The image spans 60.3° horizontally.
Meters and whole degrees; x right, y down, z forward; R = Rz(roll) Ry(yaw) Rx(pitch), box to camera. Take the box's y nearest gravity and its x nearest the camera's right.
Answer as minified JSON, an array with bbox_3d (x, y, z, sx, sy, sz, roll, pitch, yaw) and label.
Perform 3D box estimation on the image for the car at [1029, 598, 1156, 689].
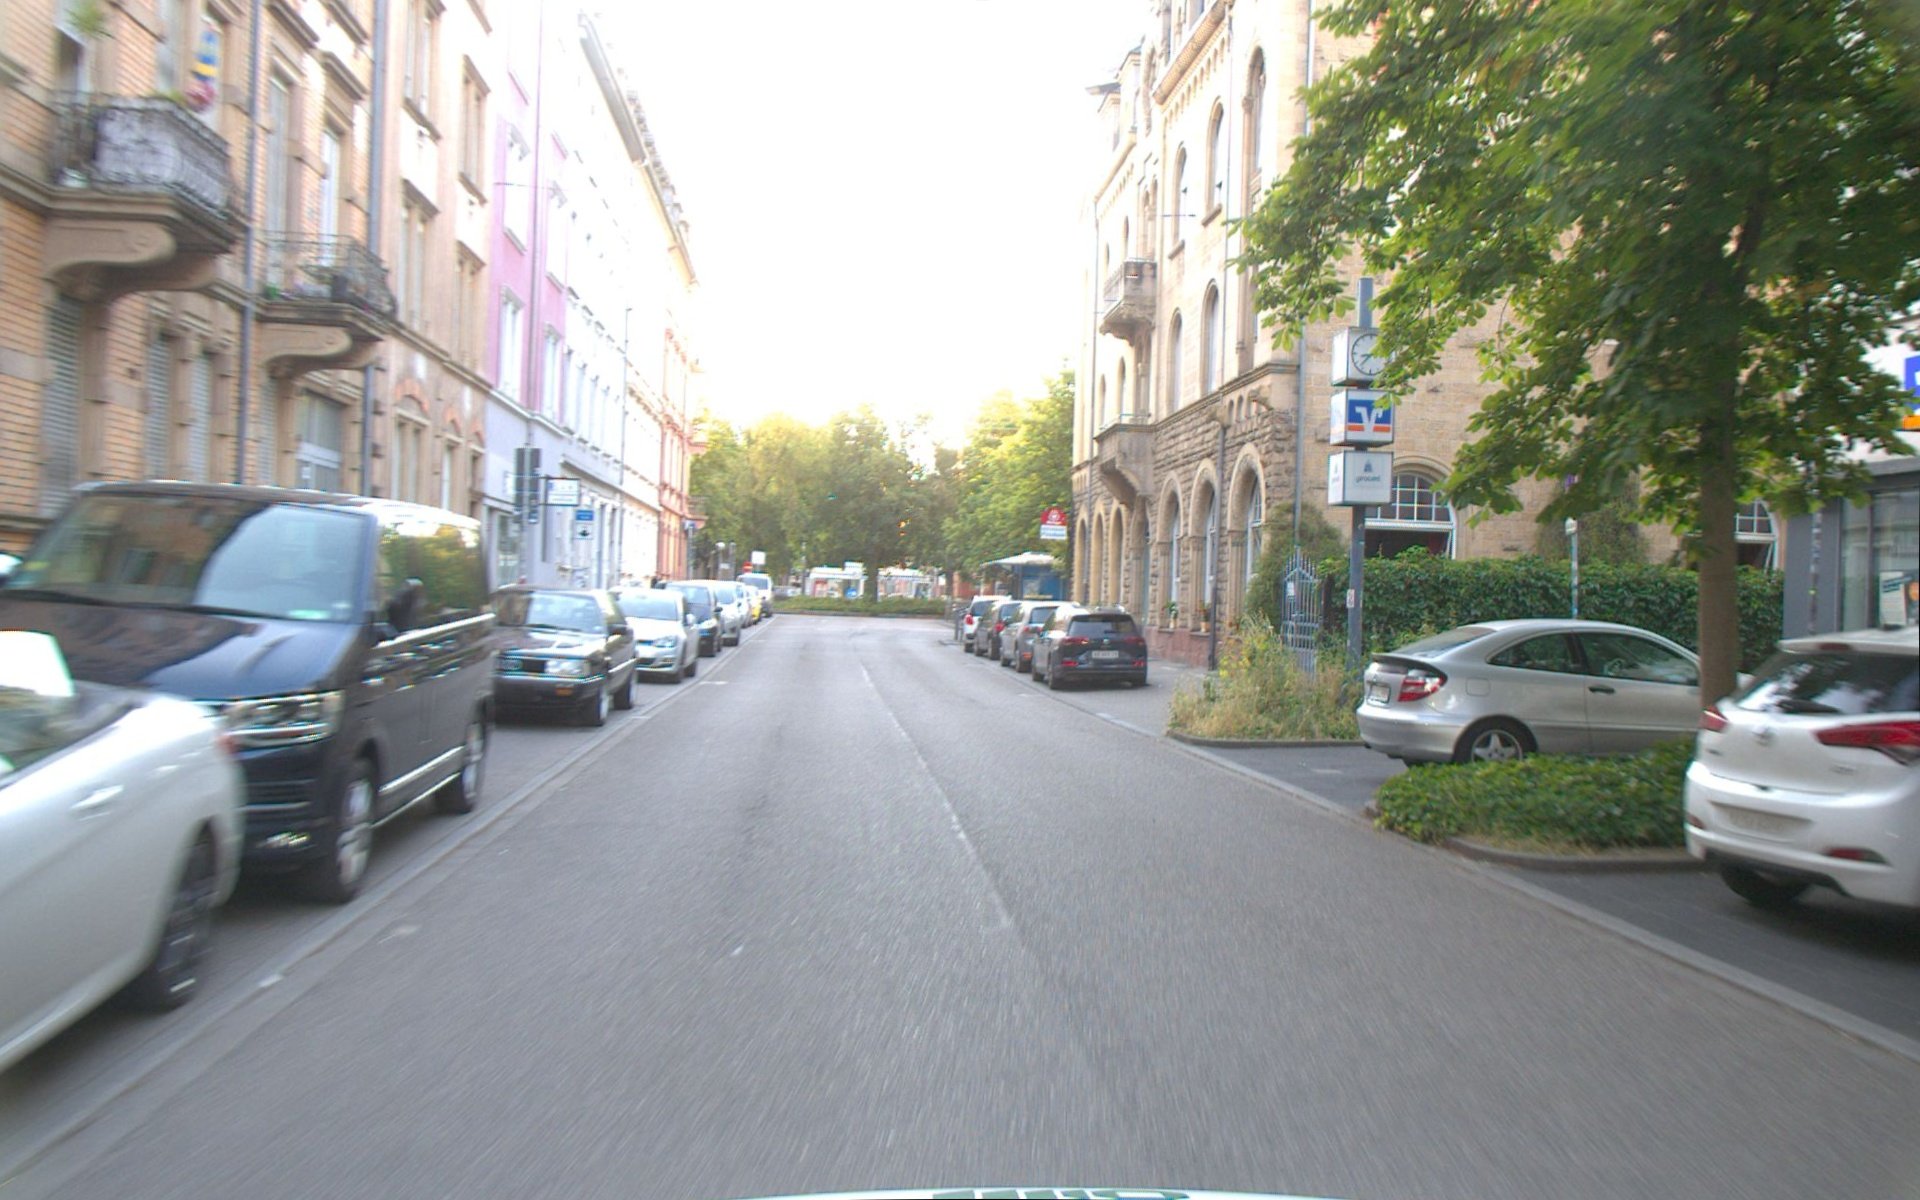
[{"bbox_3d":[2.350,0.738,30.388,1.643,1.454,4.474,-2,1,-4],"label":"car"}]

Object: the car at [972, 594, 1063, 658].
[{"bbox_3d":[1.403,0.617,41.948,1.645,1.482,3.793,-1,1,-8],"label":"car"}]

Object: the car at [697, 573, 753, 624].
[{"bbox_3d":[-8.415,-0.062,59.450,1.665,1.649,4.018,3,0,-5],"label":"car"}]

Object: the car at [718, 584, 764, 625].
[{"bbox_3d":[-8.679,0.157,65.703,1.666,1.451,4.016,4,0,-7],"label":"car"}]

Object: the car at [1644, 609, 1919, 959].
[{"bbox_3d":[5.691,0.796,8.451,3.724,1.478,1.731,-1,1,-10],"label":"car"}]

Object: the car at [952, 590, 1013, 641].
[{"bbox_3d":[0.683,0.461,52.811,1.643,1.527,4.015,-1,1,-3],"label":"car"}]

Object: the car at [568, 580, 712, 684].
[{"bbox_3d":[-5.291,0.484,27.814,1.798,1.483,4.203,5,0,-5],"label":"car"}]

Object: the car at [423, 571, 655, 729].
[{"bbox_3d":[-4.547,0.498,18.548,1.703,1.443,4.773,3,-1,-5],"label":"car"}]

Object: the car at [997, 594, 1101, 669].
[{"bbox_3d":[1.890,0.636,36.265,1.644,1.482,4.225,-1,1,-6],"label":"car"}]

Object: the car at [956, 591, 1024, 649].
[{"bbox_3d":[0.808,0.534,46.940,1.643,1.527,3.898,-1,1,-3],"label":"car"}]

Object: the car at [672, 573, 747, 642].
[{"bbox_3d":[-6.570,0.187,43.681,1.810,1.688,4.245,2,0,-8],"label":"car"}]

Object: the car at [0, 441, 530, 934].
[{"bbox_3d":[-3.812,0.335,9.279,1.956,1.957,4.943,4,0,-7],"label":"car"}]

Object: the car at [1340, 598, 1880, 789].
[{"bbox_3d":[5.572,0.758,14.534,4.004,1.478,1.881,-1,1,-3],"label":"car"}]

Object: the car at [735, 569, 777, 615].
[{"bbox_3d":[-9.859,-0.390,79.719,1.777,2.011,4.178,3,0,-9],"label":"car"}]

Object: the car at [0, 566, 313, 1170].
[{"bbox_3d":[-3.230,0.633,4.213,1.750,1.447,4.479,4,0,-6],"label":"car"}]

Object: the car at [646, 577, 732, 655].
[{"bbox_3d":[-6.079,0.329,37.407,1.604,1.592,3.777,3,0,-6],"label":"car"}]

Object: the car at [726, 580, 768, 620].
[{"bbox_3d":[-9.209,-0.031,71.605,1.666,1.579,4.016,3,0,-7],"label":"car"}]

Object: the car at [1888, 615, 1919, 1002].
[{"bbox_3d":[5.707,0.812,5.865,3.911,1.481,1.825,0,1,-7],"label":"car"}]
